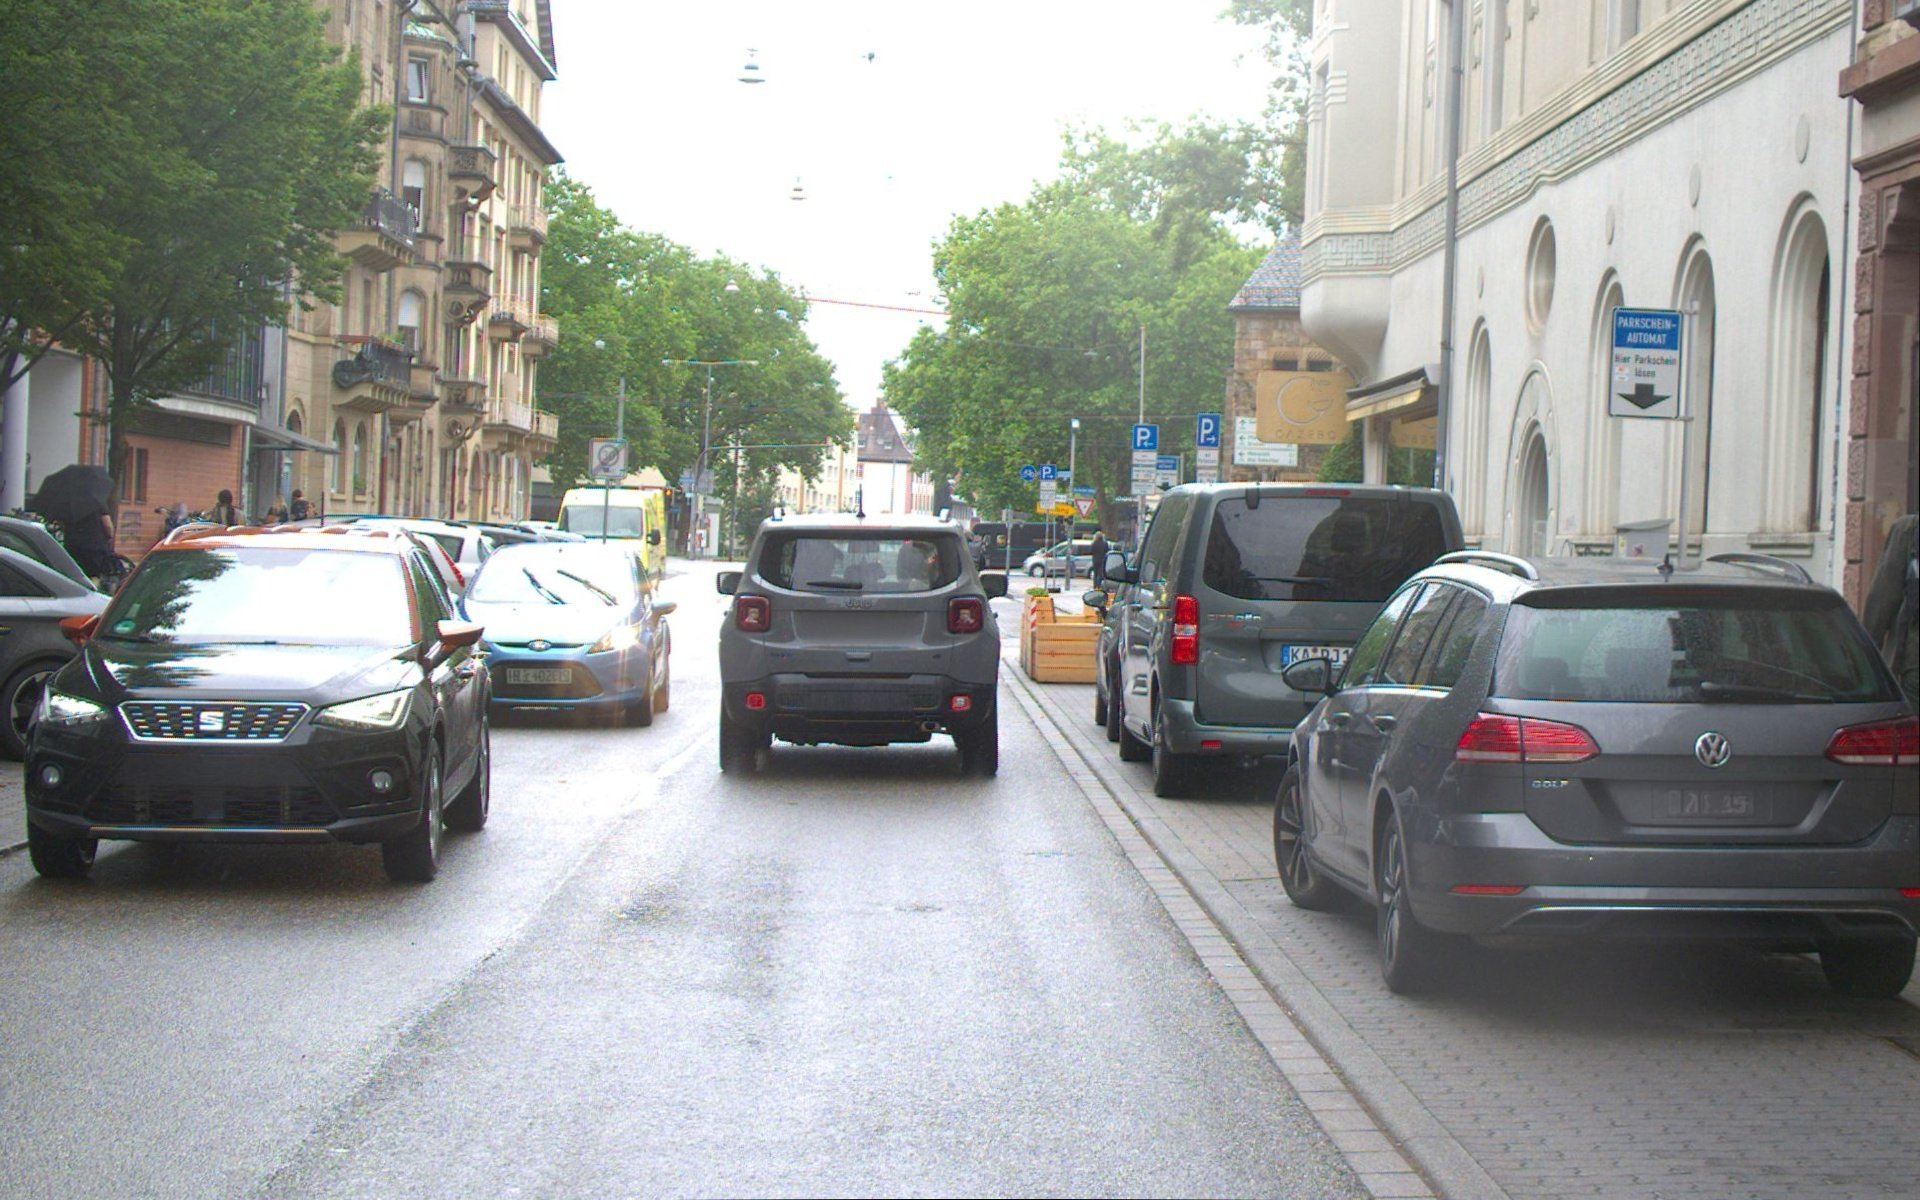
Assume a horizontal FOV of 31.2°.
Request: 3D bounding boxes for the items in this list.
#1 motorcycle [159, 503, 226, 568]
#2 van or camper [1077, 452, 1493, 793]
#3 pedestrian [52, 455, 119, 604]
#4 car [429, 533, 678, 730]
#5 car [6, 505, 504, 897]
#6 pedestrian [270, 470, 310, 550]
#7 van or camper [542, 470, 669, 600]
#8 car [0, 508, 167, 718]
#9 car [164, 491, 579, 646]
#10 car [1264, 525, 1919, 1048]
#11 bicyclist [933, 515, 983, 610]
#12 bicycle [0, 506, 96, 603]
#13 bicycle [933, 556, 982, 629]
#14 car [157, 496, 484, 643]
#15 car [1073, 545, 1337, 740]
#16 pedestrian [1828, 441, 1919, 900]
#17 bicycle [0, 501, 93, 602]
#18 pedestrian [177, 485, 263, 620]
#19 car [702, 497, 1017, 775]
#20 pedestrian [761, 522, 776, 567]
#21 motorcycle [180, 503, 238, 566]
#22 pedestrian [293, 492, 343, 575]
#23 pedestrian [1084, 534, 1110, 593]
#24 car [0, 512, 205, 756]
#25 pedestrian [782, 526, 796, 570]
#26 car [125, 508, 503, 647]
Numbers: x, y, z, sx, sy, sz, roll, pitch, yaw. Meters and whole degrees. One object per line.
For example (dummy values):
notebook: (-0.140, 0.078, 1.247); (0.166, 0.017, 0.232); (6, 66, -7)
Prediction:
motorcycle: (-14.718, -1.236, 65.974); (0.753, 1.170, 2.116); (4, 1, 0)
van or camper: (1.907, 0.075, 21.782); (2.021, 1.884, 5.055); (1, 1, -1)
pedestrian: (-10.151, -0.816, 39.907); (0.611, 1.701, 0.433); (2, -1, 0)
car: (-3.266, 0.207, 28.225); (1.669, 1.460, 4.004); (1, 1, -2)
car: (-3.139, 0.379, 16.030); (1.669, 1.554, 4.004); (2, 1, -3)
pedestrian: (-14.761, -1.981, 75.717); (0.660, 1.751, 0.797); (1, 1, -24)
van or camper: (-7.614, -1.339, 74.391); (2.121, 2.522, 6.875); (-2, -1, -1)
car: (-7.423, 0.064, 23.625); (3.471, 1.430, 1.650); (0, 2, -43)
car: (-7.427, -0.392, 43.496); (4.510, 1.534, 2.338); (6, -2, -33)
car: (2.235, 0.534, 12.375); (1.841, 1.540, 4.004); (1, 1, -1)
bicyclist: (-0.032, -0.565, 51.304); (0.705, 1.399, 1.171); (1, 1, -1)
bicycle: (-12.467, -0.639, 45.347); (1.895, 1.148, 0.554); (6, 1, -3)
bicycle: (-0.045, -0.121, 51.311); (0.705, 1.050, 1.813); (1, 1, -1)
car: (-7.479, -0.359, 40.284); (3.375, 1.648, 1.634); (0, 1, -33)
car: (1.860, 0.282, 27.124); (1.710, 1.396, 3.705); (1, 1, -1)
pedestrian: (4.231, 0.309, 14.896); (0.679, 1.928, 0.810); (2, -1, 0)
bicycle: (-11.926, -0.652, 43.039); (1.895, 1.148, 0.554); (6, 1, -3)
pedestrian: (-9.946, -0.641, 46.248); (0.825, 1.746, 0.757); (4, 1, 6)
car: (-0.698, 0.184, 23.427); (1.898, 1.665, 4.506); (1, 1, -2)
pedestrian: (-6.782, -1.972, 121.884); (0.467, 1.580, 0.752); (2, 1, -2)
motorcycle: (-14.872, -1.307, 68.124); (0.753, 1.170, 2.116); (4, 1, -5)
pedestrian: (-12.366, -1.286, 66.215); (0.709, 1.546, 0.607); (4, 1, 6)
pedestrian: (4.007, -1.076, 100.771); (0.690, 1.705, 0.684); (1, 1, -1)
car: (-6.852, 0.135, 20.939); (3.967, 1.442, 1.767); (3, 1, -41)
pedestrian: (-6.112, -1.862, 122.992); (0.467, 1.580, 0.752); (2, 1, -2)
car: (-7.068, -0.249, 37.738); (3.702, 1.447, 1.685); (0, 1, -36)
